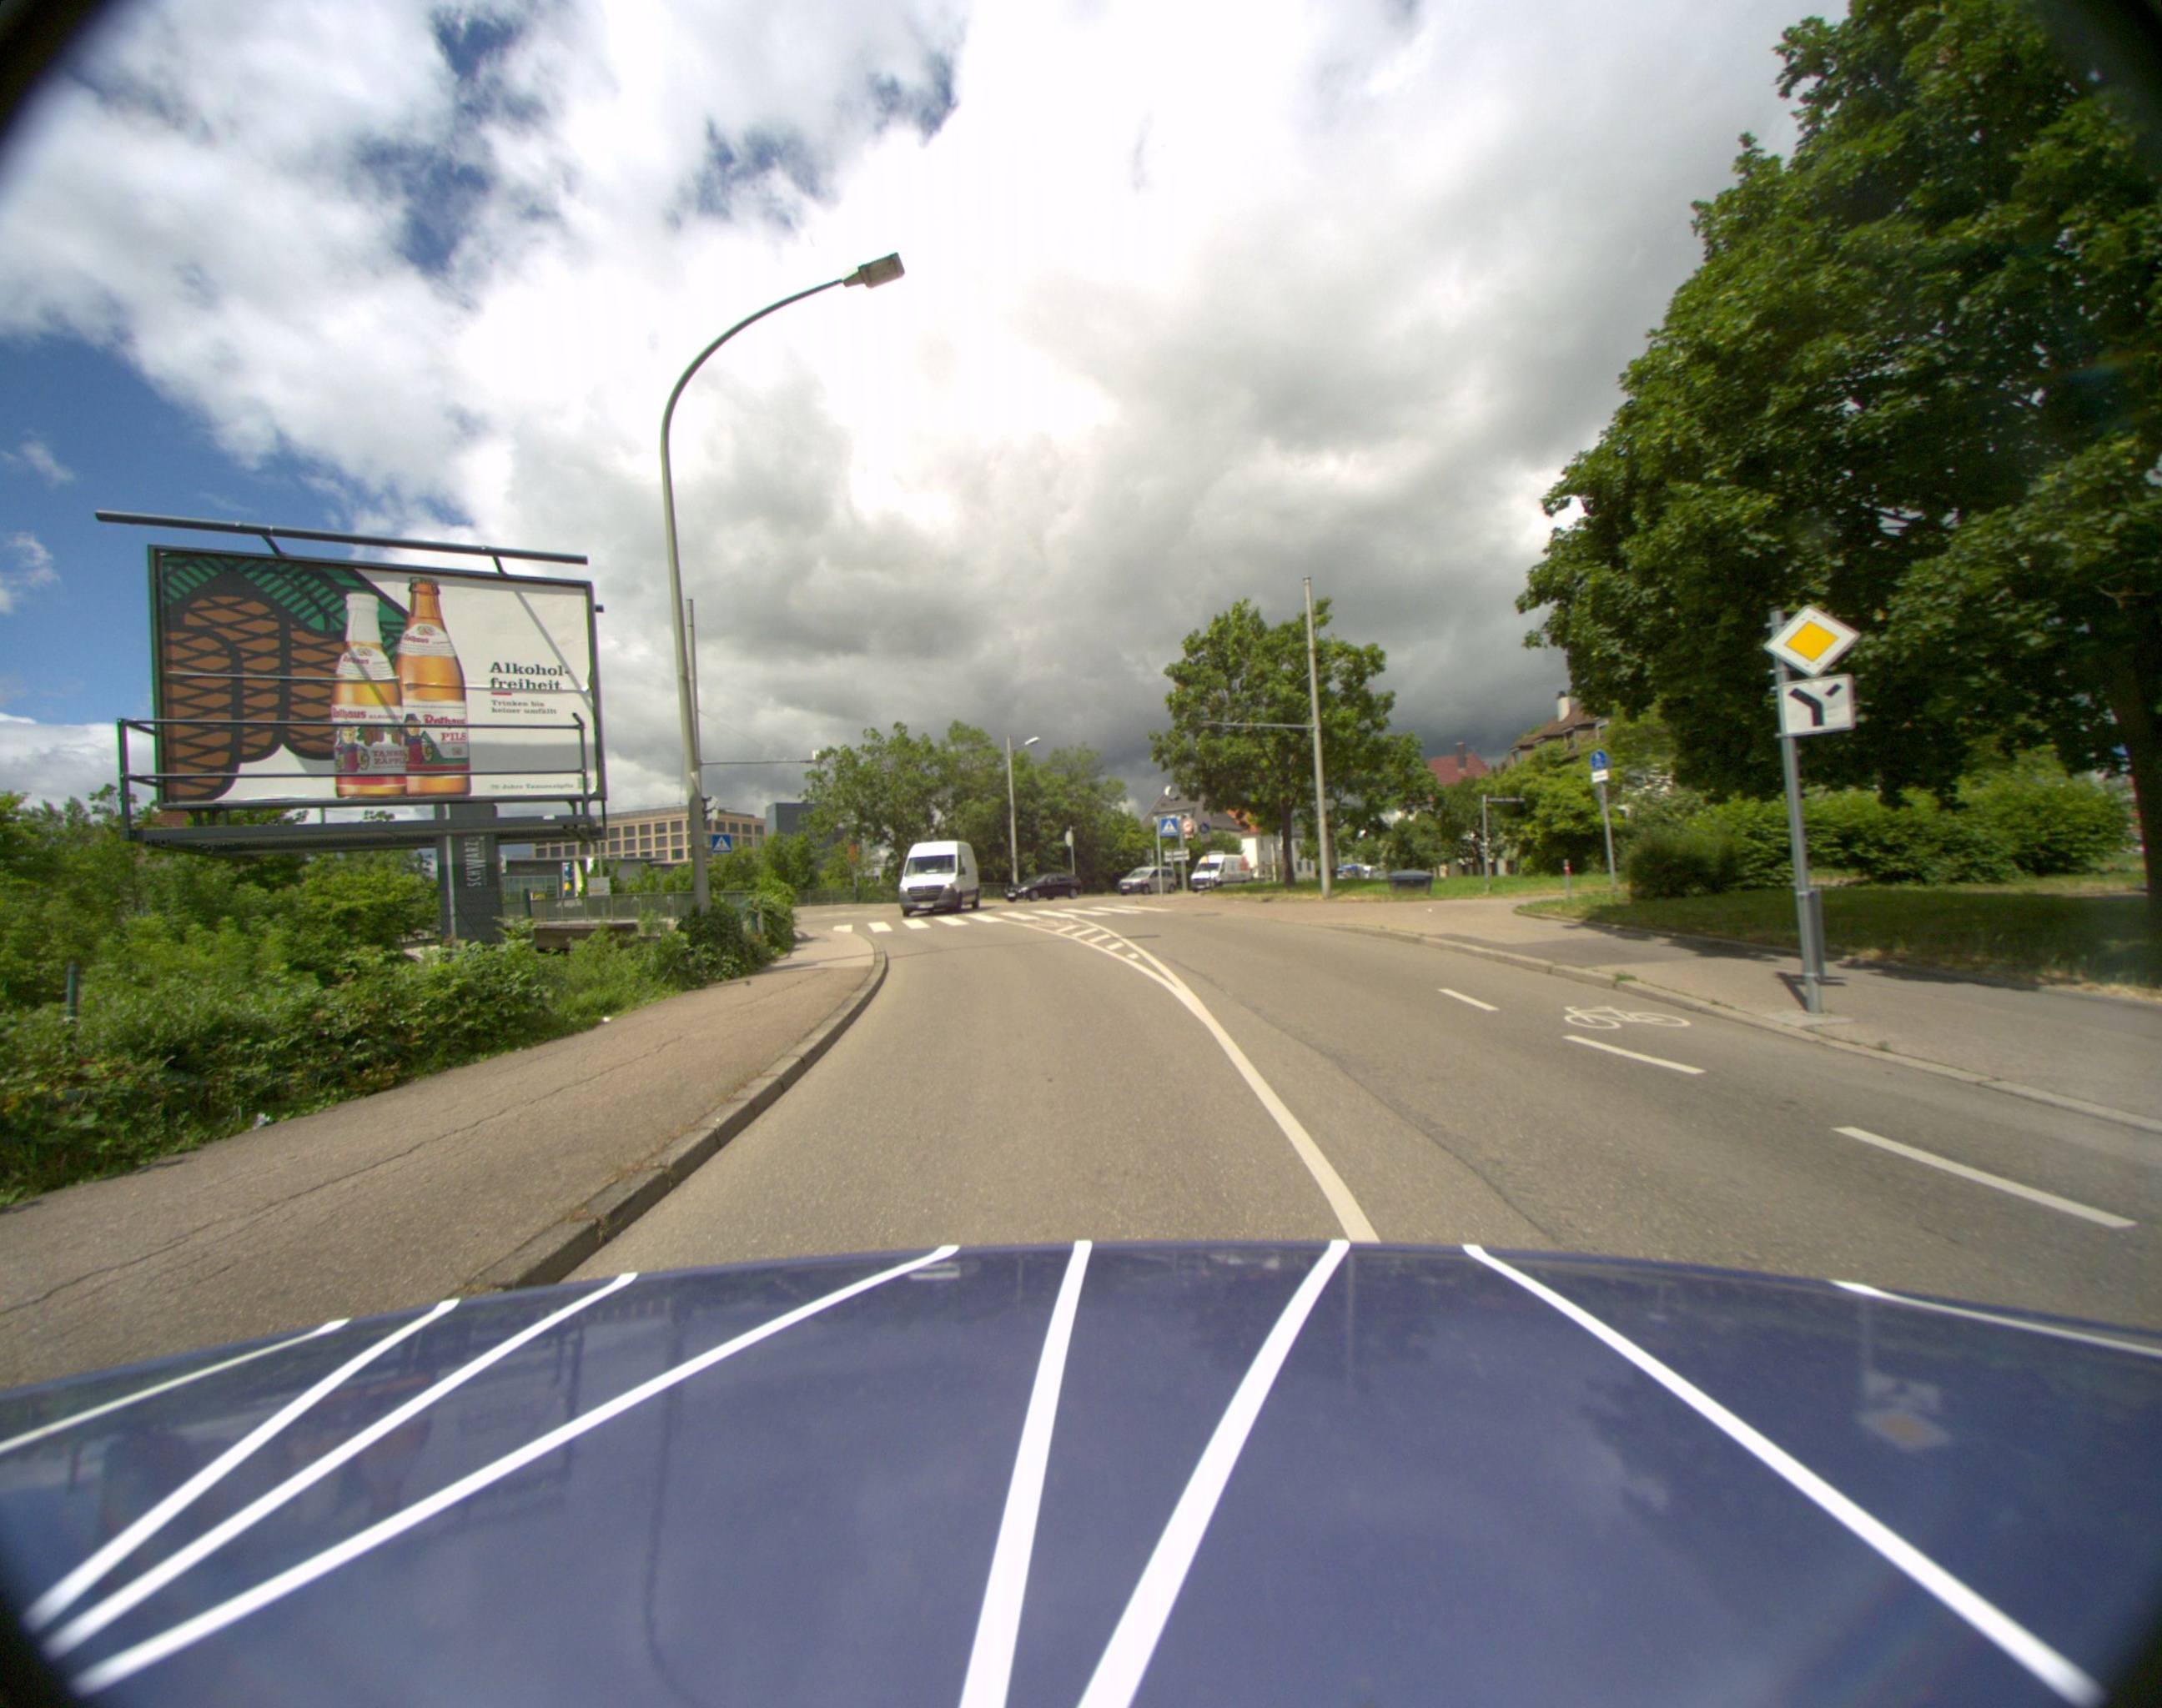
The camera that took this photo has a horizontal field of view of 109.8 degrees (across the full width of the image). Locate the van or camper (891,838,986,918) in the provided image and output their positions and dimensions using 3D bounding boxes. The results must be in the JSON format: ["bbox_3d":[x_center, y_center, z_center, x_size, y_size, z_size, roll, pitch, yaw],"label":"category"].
[{"bbox_3d":[-5.013,0.880,27.752,2.192,2.551,5.931,-2,-2,1],"label":"van or camper"}]

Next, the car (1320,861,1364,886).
[{"bbox_3d":[21.684,1.618,63.052,2.227,1.796,4.410,-4,-2,34],"label":"car"}]

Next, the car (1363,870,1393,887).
[{"bbox_3d":[31.253,2.554,79.892,1.995,1.578,4.410,-4,-2,34],"label":"car"}]

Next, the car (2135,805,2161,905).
[{"bbox_3d":[16.048,-0.034,8.968,1.643,1.417,4.079,-4,0,5],"label":"car"}]

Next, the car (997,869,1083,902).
[{"bbox_3d":[-2.033,1.588,38.902,1.995,1.465,4.239,-5,-3,39],"label":"car"}]

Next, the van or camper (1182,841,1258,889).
[{"bbox_3d":[10.141,0.897,54.718,2.266,2.975,8.347,-5,-5,32],"label":"van or camper"}]

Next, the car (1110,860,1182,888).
[{"bbox_3d":[4.066,1.217,46.961,1.995,1.577,4.411,-5,-4,44],"label":"car"}]
